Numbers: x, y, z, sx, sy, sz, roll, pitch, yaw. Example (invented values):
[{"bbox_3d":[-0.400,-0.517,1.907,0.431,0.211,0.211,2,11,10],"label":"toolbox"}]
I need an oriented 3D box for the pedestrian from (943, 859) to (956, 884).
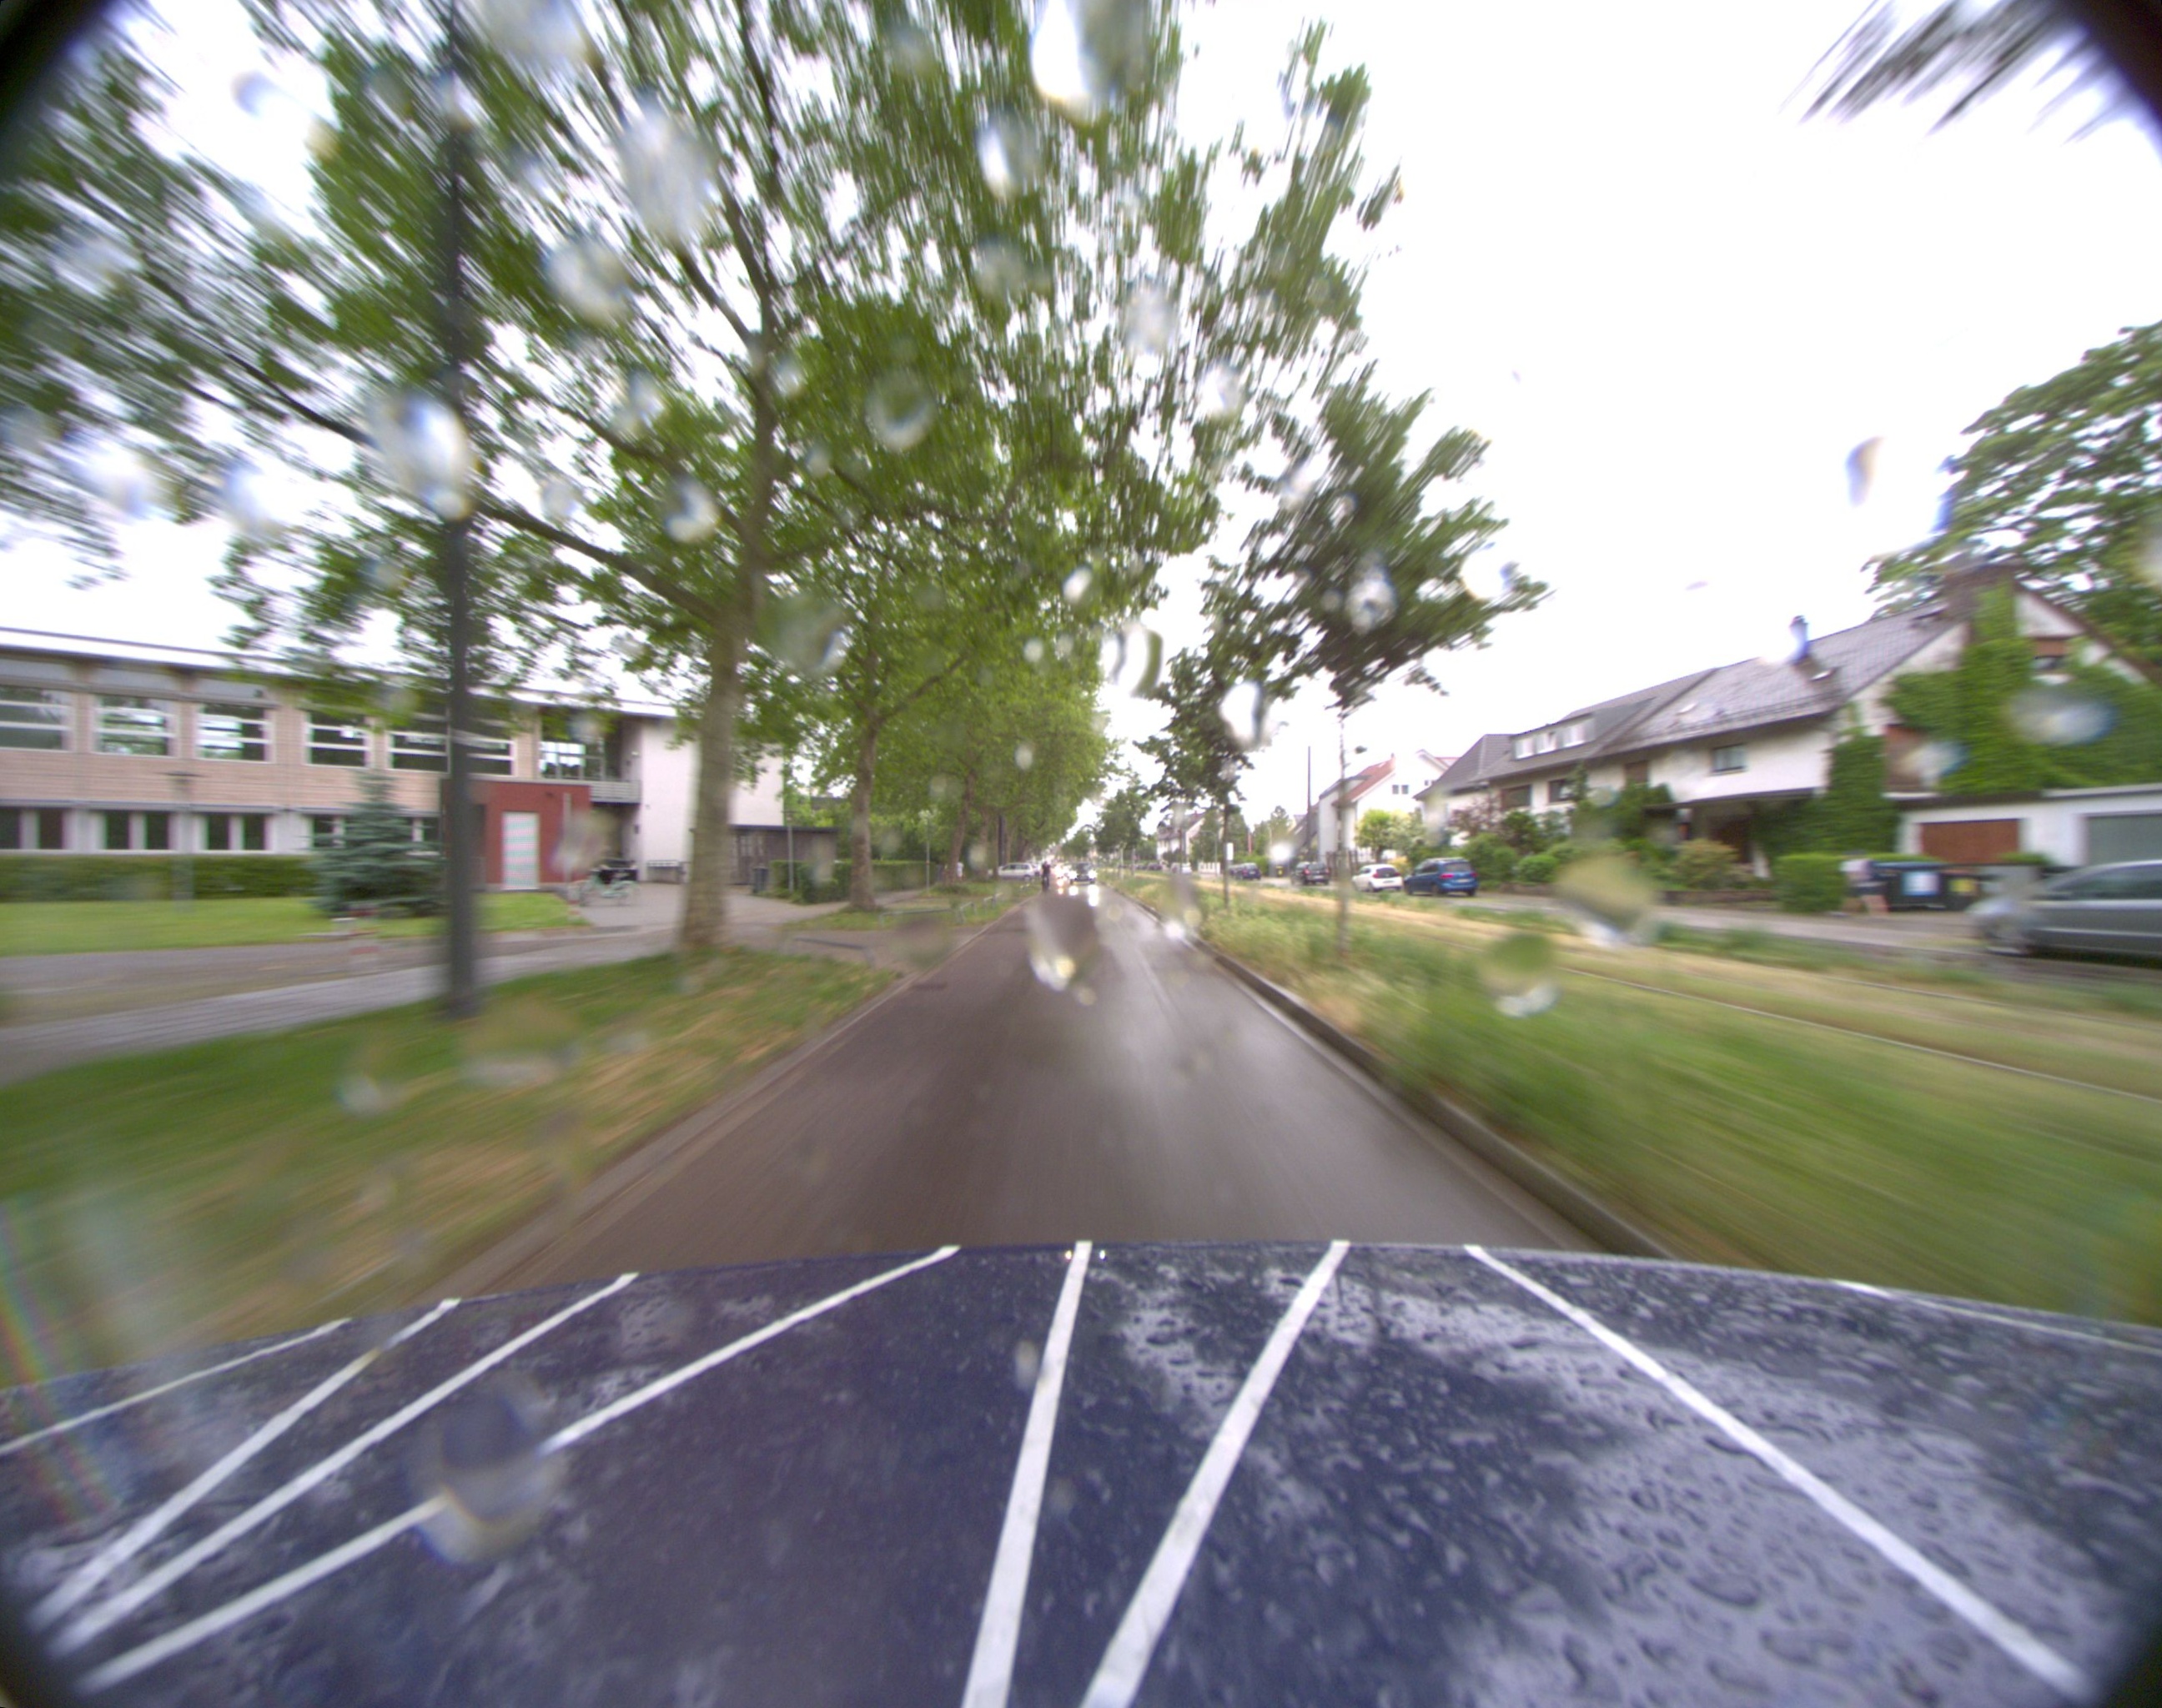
[{"bbox_3d":[-8.111,1.059,46.902,0.748,1.529,0.585,0,0,-1],"label":"pedestrian"}]

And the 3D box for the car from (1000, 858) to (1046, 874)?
[{"bbox_3d":[-5.483,1.092,71.565,4.020,1.478,1.636,0,0,-19],"label":"car"}]

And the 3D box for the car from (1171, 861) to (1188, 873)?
[{"bbox_3d":[14.135,1.859,109.220,1.759,1.507,3.854,-3,0,0],"label":"car"}]

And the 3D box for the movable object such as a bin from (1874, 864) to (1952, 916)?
[{"bbox_3d":[21.675,0.931,19.808,1.187,1.290,0.739,-2,0,1],"label":"movable object such as a bin"}]

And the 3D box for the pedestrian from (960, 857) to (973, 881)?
[{"bbox_3d":[-7.393,0.944,48.910,0.749,1.529,0.585,0,0,-18],"label":"pedestrian"}]

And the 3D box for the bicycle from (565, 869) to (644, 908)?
[{"bbox_3d":[-14.461,1.032,23.104,0.520,1.115,1.942,3,1,43],"label":"bicycle"}]

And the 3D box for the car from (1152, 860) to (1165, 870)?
[{"bbox_3d":[13.427,1.901,131.838,1.759,1.507,3.854,-3,0,0],"label":"car"}]

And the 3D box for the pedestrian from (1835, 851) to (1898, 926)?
[{"bbox_3d":[18.960,0.828,18.366,0.599,1.757,0.869,-1,0,0],"label":"pedestrian"}]

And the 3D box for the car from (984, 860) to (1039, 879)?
[{"bbox_3d":[-5.498,1.231,60.195,4.020,1.478,1.636,0,0,-19],"label":"car"}]

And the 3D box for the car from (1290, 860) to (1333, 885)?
[{"bbox_3d":[16.148,1.286,53.397,1.759,1.604,4.111,-3,0,0],"label":"car"}]

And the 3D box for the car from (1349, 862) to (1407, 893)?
[{"bbox_3d":[16.360,1.256,41.987,1.718,1.520,3.601,-3,0,0],"label":"car"}]

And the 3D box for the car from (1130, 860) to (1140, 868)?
[{"bbox_3d":[11.641,2.168,164.672,1.759,1.507,3.854,-3,0,0],"label":"car"}]

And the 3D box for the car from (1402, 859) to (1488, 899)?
[{"bbox_3d":[16.568,1.097,34.867,1.849,1.695,4.182,-1,0,-1],"label":"car"}]

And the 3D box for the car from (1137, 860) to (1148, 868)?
[{"bbox_3d":[12.390,2.021,152.890,1.759,1.507,3.854,-3,0,0],"label":"car"}]

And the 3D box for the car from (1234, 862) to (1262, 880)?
[{"bbox_3d":[15.556,1.552,70.933,1.759,1.507,3.854,-3,0,0],"label":"car"}]

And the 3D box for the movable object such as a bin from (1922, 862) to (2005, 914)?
[{"bbox_3d":[22.909,0.885,19.751,1.257,1.290,0.739,-2,0,1],"label":"movable object such as a bin"}]

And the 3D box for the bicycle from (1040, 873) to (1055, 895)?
[{"bbox_3d":[-1.661,1.472,37.929,0.659,1.008,2.256,0,0,-1],"label":"bicycle"}]

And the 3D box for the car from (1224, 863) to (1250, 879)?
[{"bbox_3d":[15.435,1.689,75.333,1.893,1.490,4.000,0,0,1],"label":"car"}]

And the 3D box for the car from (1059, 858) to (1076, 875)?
[{"bbox_3d":[-1.397,1.317,79.367,1.767,1.715,3.934,-1,0,-1],"label":"car"}]

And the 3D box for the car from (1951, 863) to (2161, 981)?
[{"bbox_3d":[16.345,0.978,11.073,1.998,1.604,4.684,-2,0,1],"label":"car"}]

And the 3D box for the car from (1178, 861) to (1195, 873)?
[{"bbox_3d":[14.508,1.773,104.668,1.759,1.507,3.854,-3,0,0],"label":"car"}]

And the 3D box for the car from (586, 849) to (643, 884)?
[{"bbox_3d":[-20.848,0.538,33.919,1.753,1.443,3.572,-2,1,-38],"label":"car"}]

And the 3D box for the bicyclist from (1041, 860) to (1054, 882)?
[{"bbox_3d":[-1.662,0.832,37.926,0.622,1.078,0.624,0,1,-2],"label":"bicyclist"}]

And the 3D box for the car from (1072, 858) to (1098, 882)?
[{"bbox_3d":[0.284,1.198,57.039,1.767,1.714,3.935,-2,-1,0],"label":"car"}]
